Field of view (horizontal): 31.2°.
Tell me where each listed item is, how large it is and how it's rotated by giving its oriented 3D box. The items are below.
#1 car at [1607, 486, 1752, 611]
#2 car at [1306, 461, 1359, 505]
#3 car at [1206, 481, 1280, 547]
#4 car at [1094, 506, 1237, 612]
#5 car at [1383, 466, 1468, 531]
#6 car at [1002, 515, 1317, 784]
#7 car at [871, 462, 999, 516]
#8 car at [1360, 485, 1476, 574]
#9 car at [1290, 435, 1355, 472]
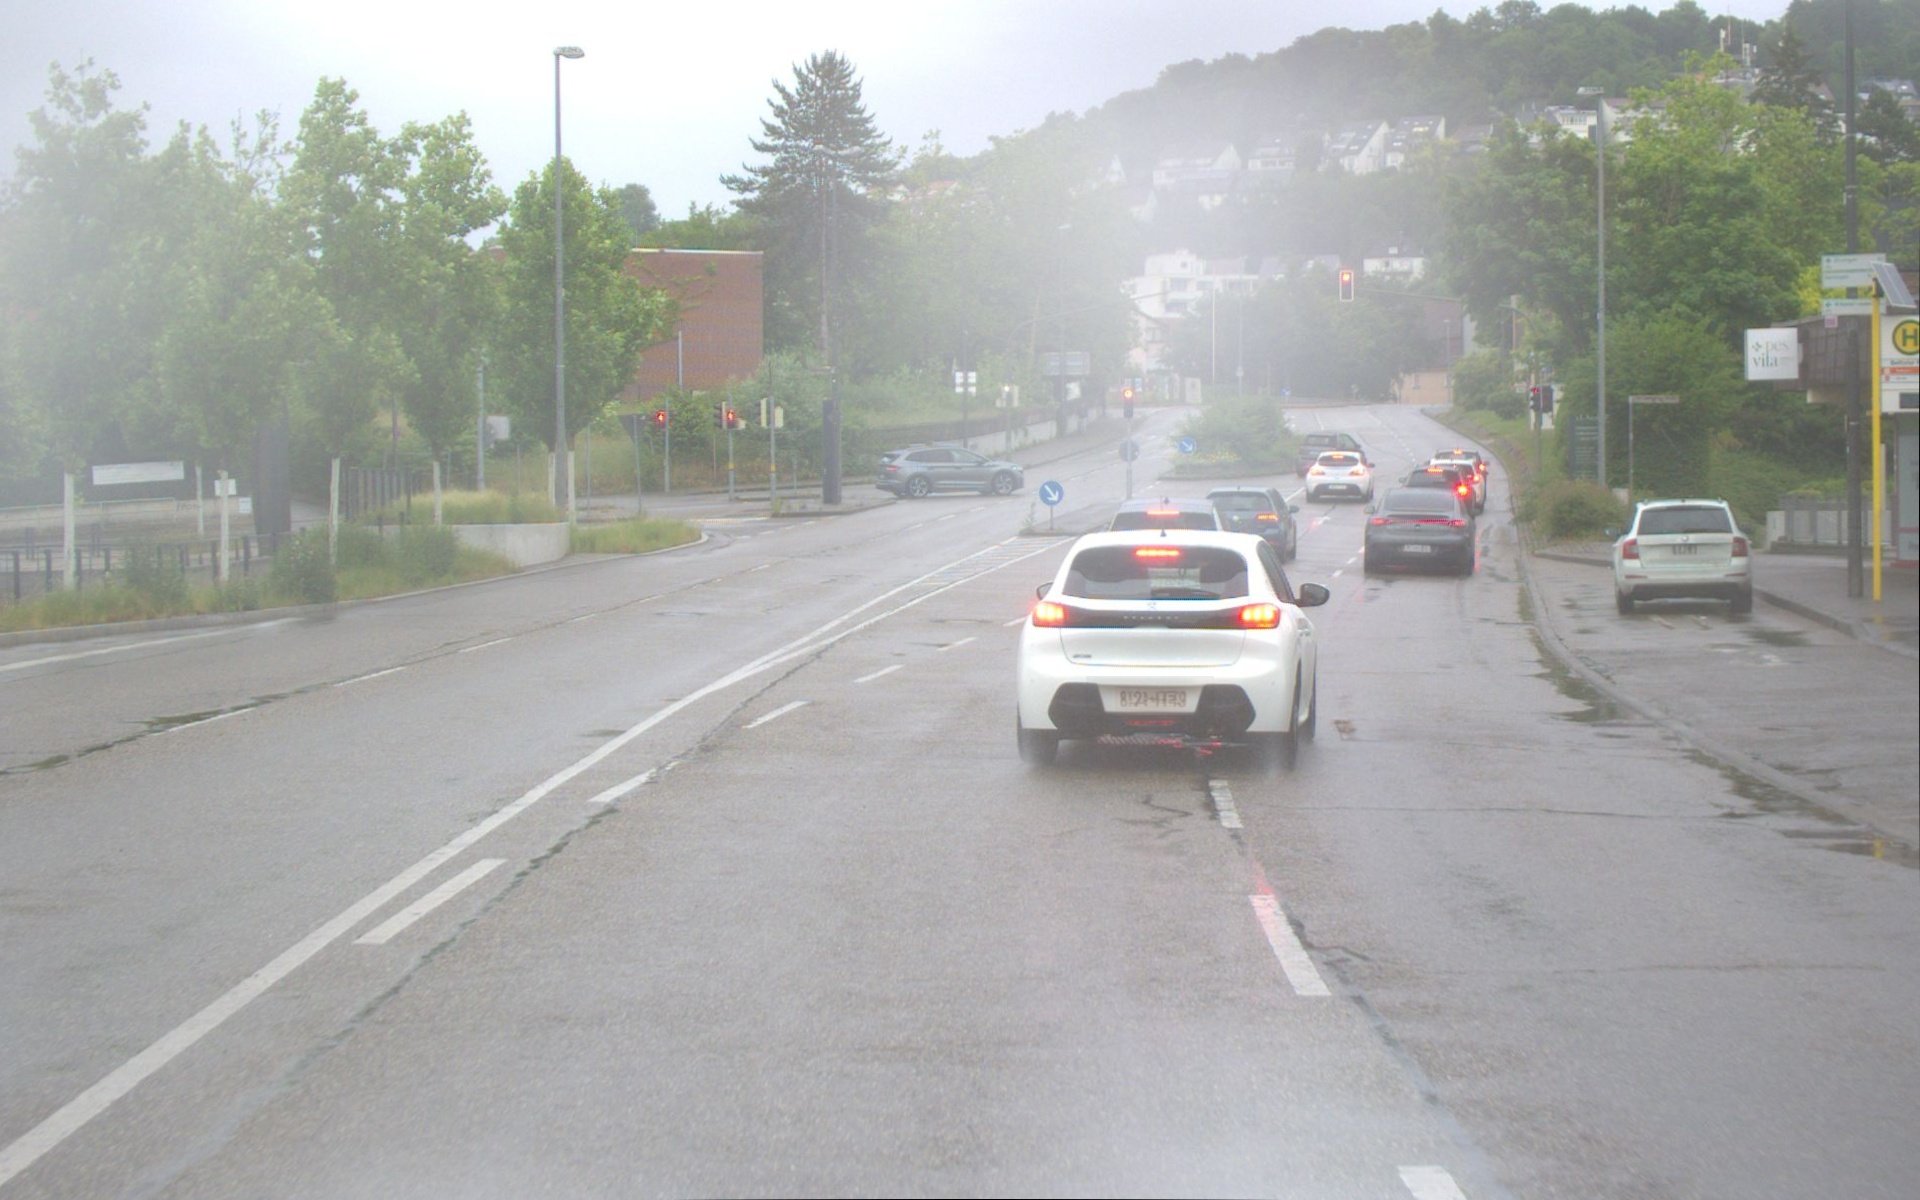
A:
[{"bbox_3d":[9.480,-0.723,45.519,1.731,1.492,4.479,-2,2,11],"label":"car"},{"bbox_3d":[10.807,-3.390,99.866,1.385,1.123,2.610,-1,0,4],"label":"car"},{"bbox_3d":[5.259,-1.591,64.059,1.213,1.152,2.270,-1,0,1],"label":"car"},{"bbox_3d":[2.701,-0.540,44.628,1.741,1.291,3.333,-1,1,5],"label":"car"},{"bbox_3d":[11.665,-2.523,86.331,1.647,1.480,3.366,-1,0,0],"label":"car"},{"bbox_3d":[1.364,0.236,22.082,1.691,1.514,3.932,2,2,8],"label":"car"},{"bbox_3d":[-0.784,-3.446,106.761,3.514,1.564,1.800,-1,0,-25],"label":"car"},{"bbox_3d":[8.098,-1.269,60.985,1.734,1.383,3.353,1,4,3],"label":"car"},{"bbox_3d":[12.499,-5.028,118.429,1.368,1.153,2.423,-1,0,29],"label":"car"}]
